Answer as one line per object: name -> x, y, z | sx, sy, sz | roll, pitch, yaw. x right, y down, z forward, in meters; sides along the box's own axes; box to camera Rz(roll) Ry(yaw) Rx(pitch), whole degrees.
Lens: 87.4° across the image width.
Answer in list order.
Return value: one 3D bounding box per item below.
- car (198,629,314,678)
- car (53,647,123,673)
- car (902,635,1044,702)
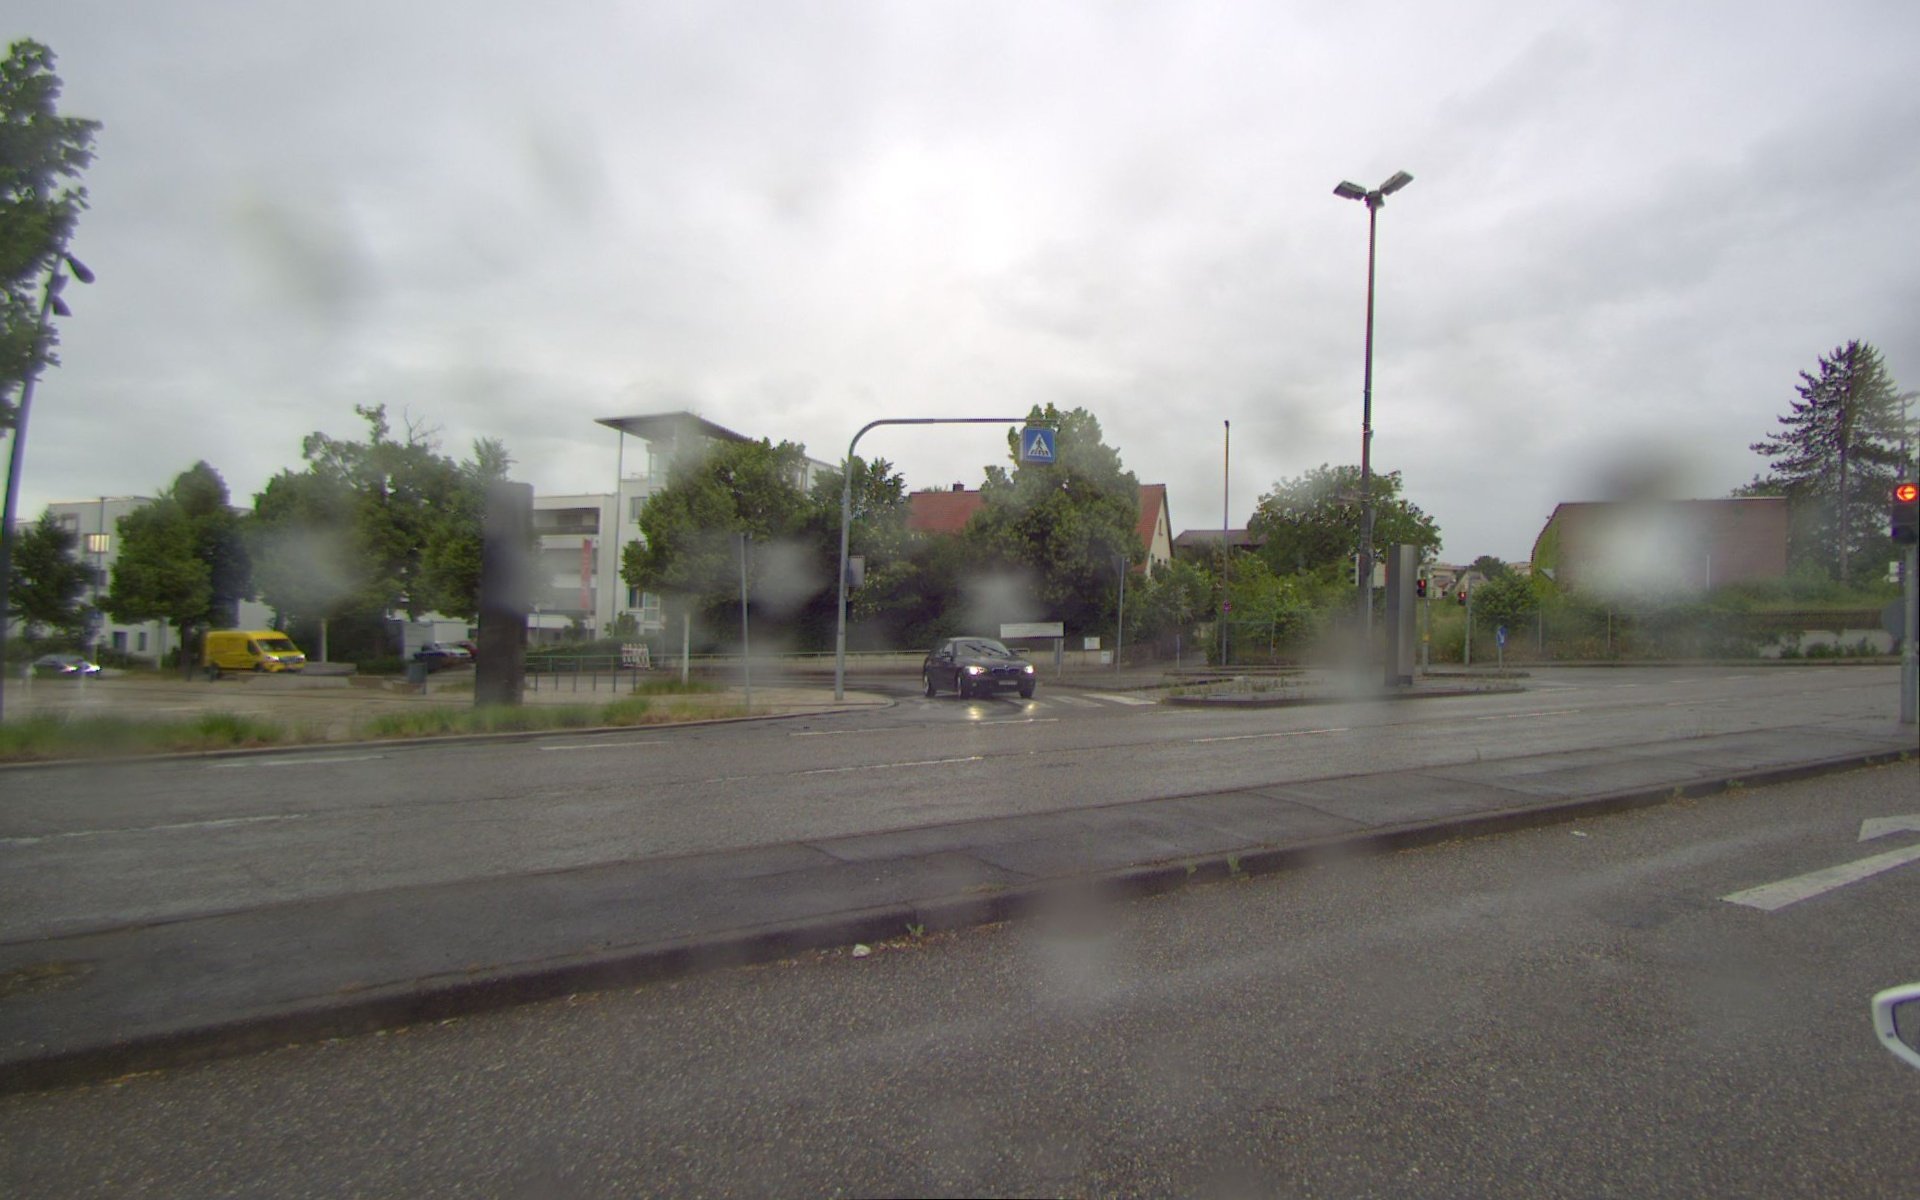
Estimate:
car -> -36.638, 2.816, 52.249 | 5.802, 2.441, 2.000 | -2, -3, 21
car -> -52.600, 3.615, 60.594 | 3.929, 1.559, 1.997 | -2, -3, 29
car -> 0.197, 1.541, 23.720 | 1.766, 1.408, 4.256 | 1, -2, -24
